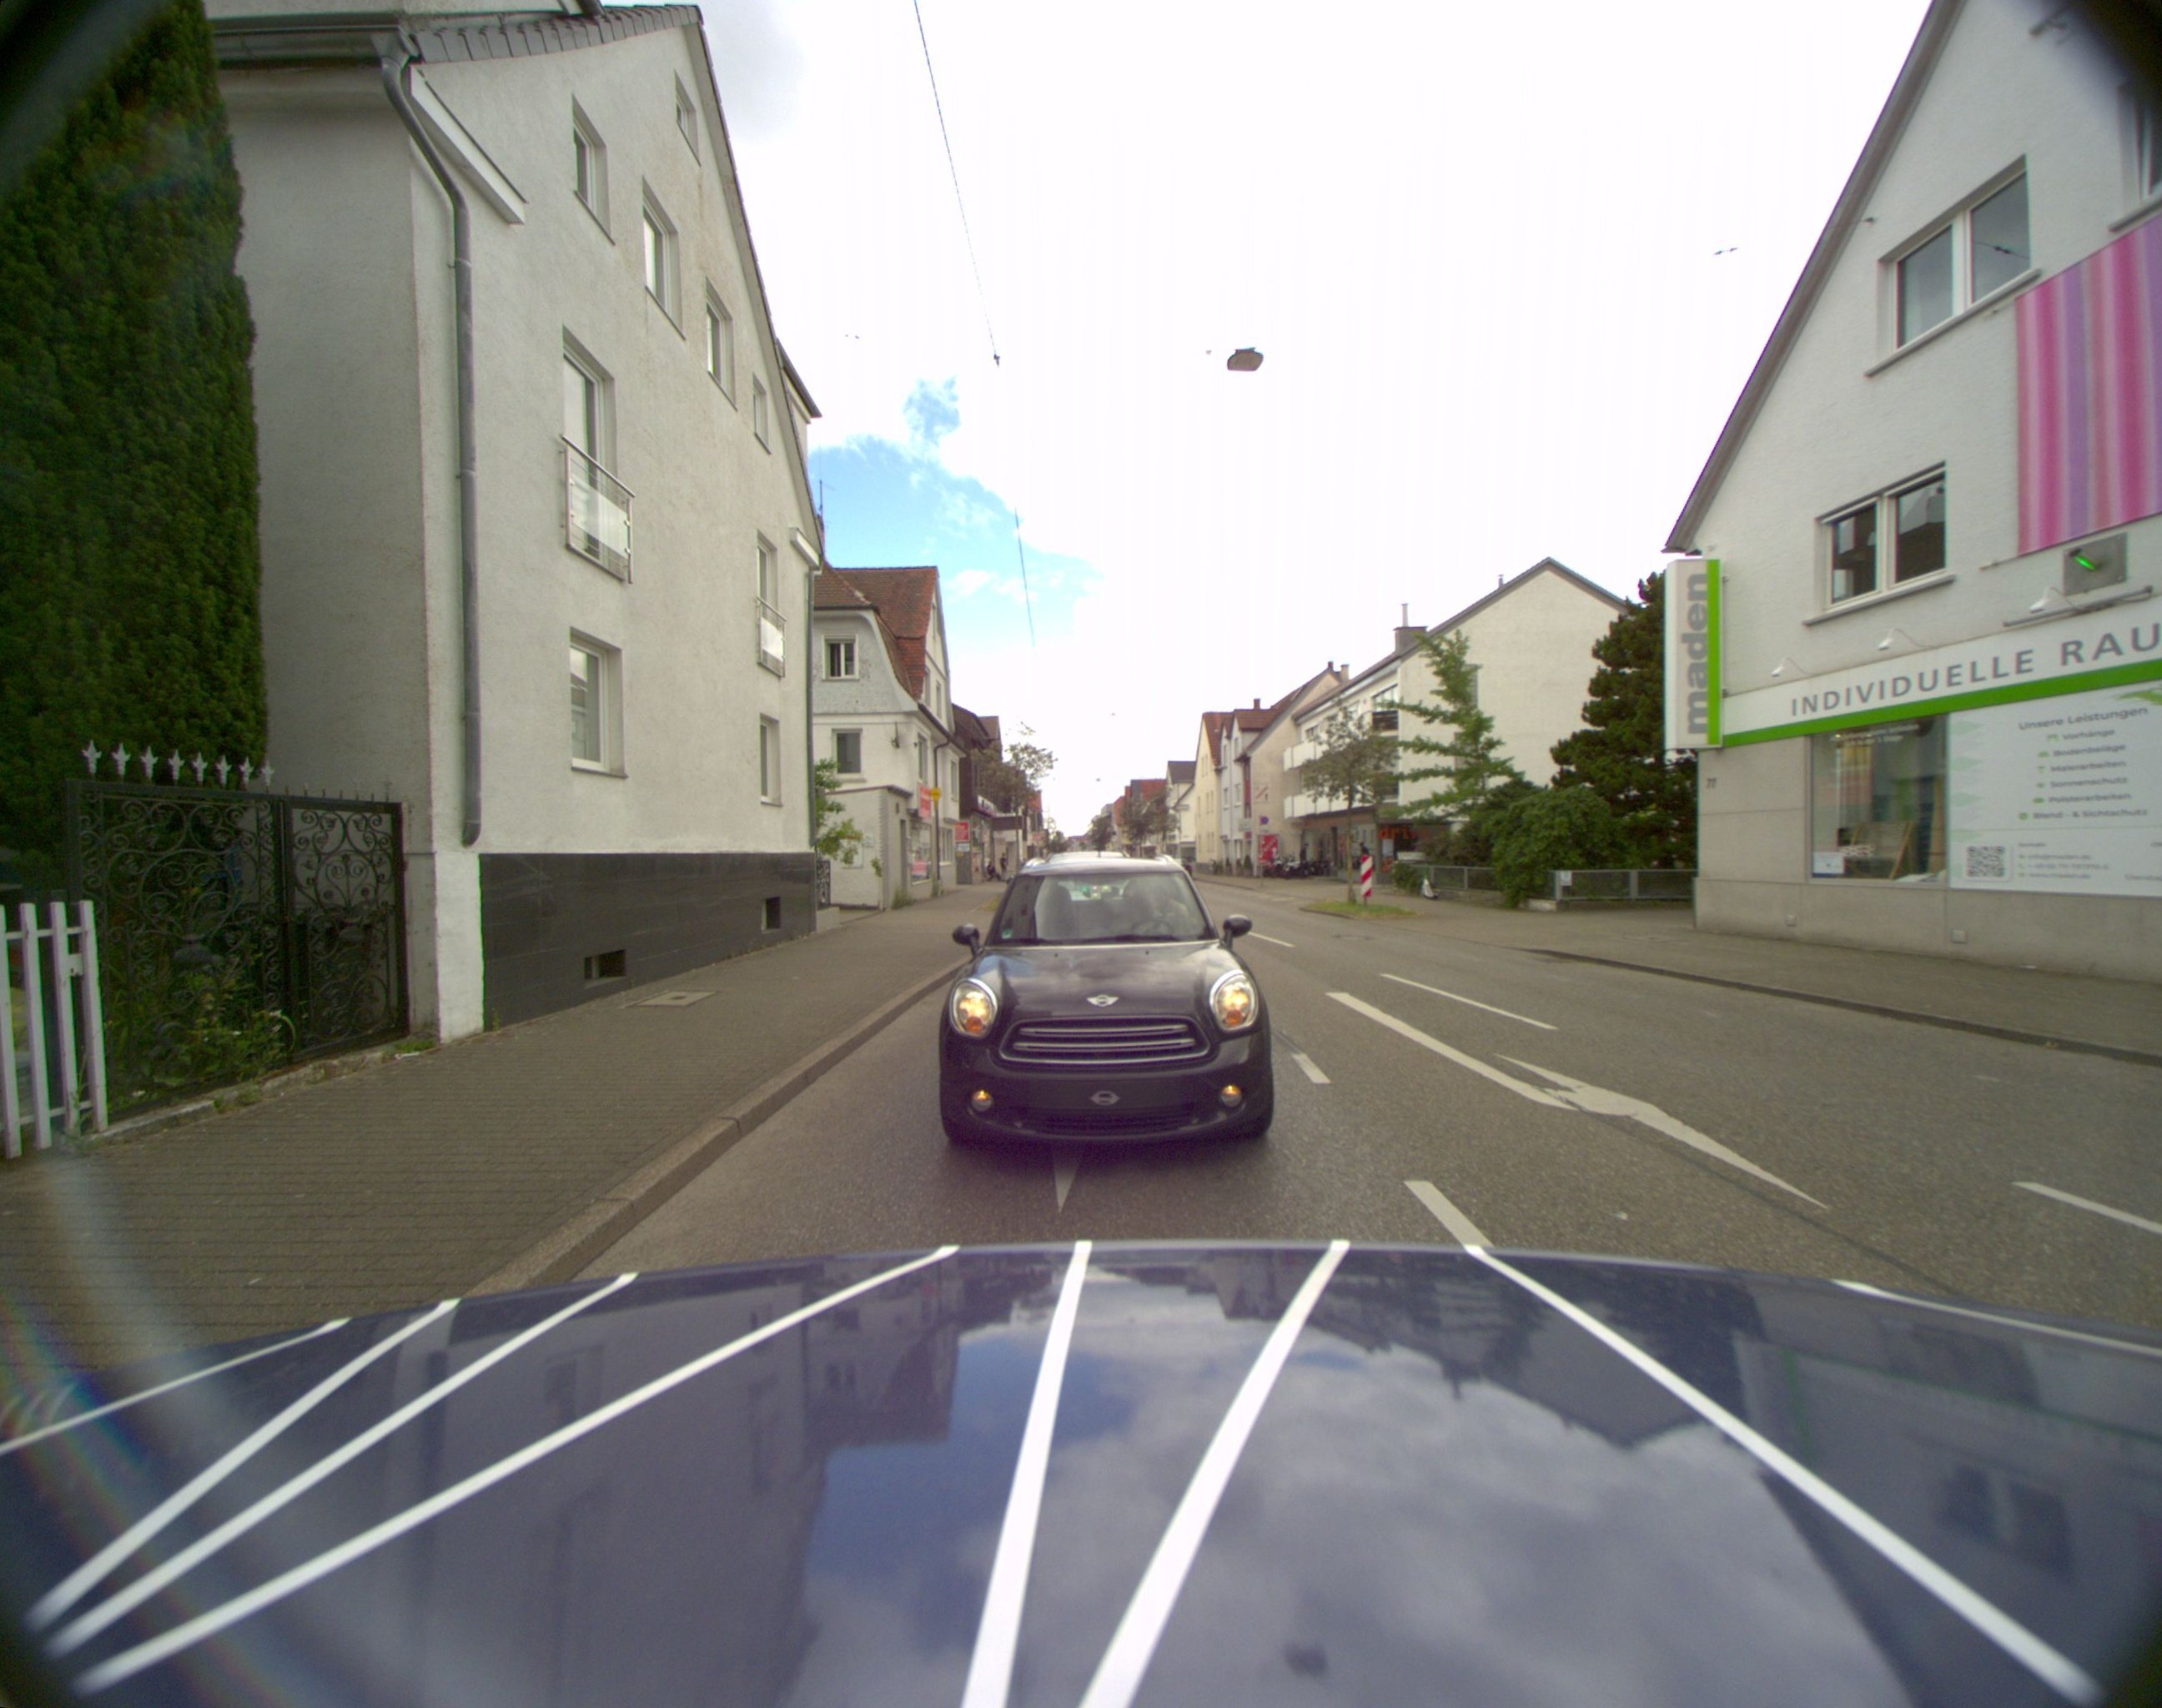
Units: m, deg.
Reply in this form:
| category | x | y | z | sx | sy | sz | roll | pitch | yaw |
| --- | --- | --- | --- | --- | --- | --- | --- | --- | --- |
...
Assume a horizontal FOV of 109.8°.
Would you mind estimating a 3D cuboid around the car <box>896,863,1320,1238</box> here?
| category | x | y | z | sx | sy | sz | roll | pitch | yaw |
| --- | --- | --- | --- | --- | --- | --- | --- | --- | --- |
| car | 0.049 | 0.902 | 5.763 | 1.855 | 1.527 | 4.735 | -2 | 0 | -2 |

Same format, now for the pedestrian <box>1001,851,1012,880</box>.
| category | x | y | z | sx | sy | sz | roll | pitch | yaw |
| --- | --- | --- | --- | --- | --- | --- | --- | --- | --- |
| pedestrian | -4.518 | 0.713 | 46.043 | 0.644 | 1.730 | 0.742 | 0 | 1 | -6 |

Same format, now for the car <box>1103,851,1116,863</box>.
| category | x | y | z | sx | sy | sz | roll | pitch | yaw |
| --- | --- | --- | --- | --- | --- | --- | --- | --- | --- |
| car | 4.443 | 0.408 | 117.523 | 1.998 | 1.772 | 4.000 | -2 | 0 | 3 |

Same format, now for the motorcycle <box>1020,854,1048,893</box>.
| category | x | y | z | sx | sy | sz | roll | pitch | yaw |
| --- | --- | --- | --- | --- | --- | --- | --- | --- | --- |
| motorcycle | -1.931 | 0.785 | 31.579 | 0.672 | 1.516 | 2.599 | -2 | 1 | 6 |

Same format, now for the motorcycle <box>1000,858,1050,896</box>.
| category | x | y | z | sx | sy | sz | roll | pitch | yaw |
| --- | --- | --- | --- | --- | --- | --- | --- | --- | --- |
| motorcycle | -2.175 | 0.881 | 29.311 | 0.777 | 1.373 | 2.237 | -2 | 1 | -37 |

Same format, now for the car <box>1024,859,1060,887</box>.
| category | x | y | z | sx | sy | sz | roll | pitch | yaw |
| --- | --- | --- | --- | --- | --- | --- | --- | --- | --- |
| car | -2.171 | 1.056 | 43.203 | 1.830 | 1.400 | 4.564 | -2 | 0 | -1 |

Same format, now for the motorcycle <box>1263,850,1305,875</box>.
| category | x | y | z | sx | sy | sz | roll | pitch | yaw |
| --- | --- | --- | --- | --- | --- | --- | --- | --- | --- |
| motorcycle | 11.754 | 0.486 | 43.983 | 2.231 | 1.258 | 0.613 | -4 | 1 | -2 |

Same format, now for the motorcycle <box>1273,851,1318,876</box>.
| category | x | y | z | sx | sy | sz | roll | pitch | yaw |
| --- | --- | --- | --- | --- | --- | --- | --- | --- | --- |
| motorcycle | 11.784 | 0.513 | 41.711 | 2.231 | 1.258 | 0.613 | -4 | 1 | -2 |

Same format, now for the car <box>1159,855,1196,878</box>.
| category | x | y | z | sx | sy | sz | roll | pitch | yaw |
| --- | --- | --- | --- | --- | --- | --- | --- | --- | --- |
| car | 6.446 | 0.814 | 51.127 | 1.792 | 1.409 | 4.340 | 0 | 0 | -1 |

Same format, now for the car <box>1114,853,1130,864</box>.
| category | x | y | z | sx | sy | sz | roll | pitch | yaw |
| --- | --- | --- | --- | --- | --- | --- | --- | --- | --- |
| car | 5.479 | 0.605 | 102.145 | 1.716 | 1.389 | 3.899 | -2 | 0 | -2 |

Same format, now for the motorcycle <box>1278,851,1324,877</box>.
| category | x | y | z | sx | sy | sz | roll | pitch | yaw |
| --- | --- | --- | --- | --- | --- | --- | --- | --- | --- |
| motorcycle | 11.813 | 0.523 | 40.861 | 2.231 | 1.258 | 0.613 | -4 | 1 | -2 |

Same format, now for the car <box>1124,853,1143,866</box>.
| category | x | y | z | sx | sy | sz | roll | pitch | yaw |
| --- | --- | --- | --- | --- | --- | --- | --- | --- | --- |
| car | 5.921 | 0.618 | 86.386 | 1.716 | 1.389 | 3.899 | -2 | 0 | -2 |

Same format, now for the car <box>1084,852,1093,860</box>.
| category | x | y | z | sx | sy | sz | roll | pitch | yaw |
| --- | --- | --- | --- | --- | --- | --- | --- | --- | --- |
| car | 1.904 | 0.487 | 192.783 | 1.855 | 1.932 | 4.489 | 1 | 0 | -2 |

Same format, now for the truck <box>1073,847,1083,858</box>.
| category | x | y | z | sx | sy | sz | roll | pitch | yaw |
| --- | --- | --- | --- | --- | --- | --- | --- | --- | --- |
| truck | -0.882 | -0.586 | 219.276 | 2.800 | 3.020 | 8.250 | -2 | 0 | 0 |

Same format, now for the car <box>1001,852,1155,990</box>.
| category | x | y | z | sx | sy | sz | roll | pitch | yaw |
| --- | --- | --- | --- | --- | --- | --- | --- | --- | --- |
| car | -0.020 | 0.818 | 11.709 | 1.855 | 1.615 | 4.736 | -2 | 0 | 0 |

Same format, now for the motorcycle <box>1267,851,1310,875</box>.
| category | x | y | z | sx | sy | sz | roll | pitch | yaw |
| --- | --- | --- | --- | --- | --- | --- | --- | --- | --- |
| motorcycle | 11.794 | 0.503 | 43.239 | 2.231 | 1.258 | 0.613 | -4 | 1 | -2 |

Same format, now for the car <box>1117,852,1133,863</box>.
| category | x | y | z | sx | sy | sz | roll | pitch | yaw |
| --- | --- | --- | --- | --- | --- | --- | --- | --- | --- |
| car | 5.625 | 0.426 | 97.154 | 1.716 | 1.389 | 3.899 | -2 | 0 | -2 |

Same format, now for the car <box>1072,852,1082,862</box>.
| category | x | y | z | sx | sy | sz | roll | pitch | yaw |
| --- | --- | --- | --- | --- | --- | --- | --- | --- | --- |
| car | -0.874 | 0.546 | 159.325 | 2.059 | 2.002 | 4.186 | -2 | 0 | -1 |

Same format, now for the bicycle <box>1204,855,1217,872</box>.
| category | x | y | z | sx | sy | sz | roll | pitch | yaw |
| --- | --- | --- | --- | --- | --- | --- | --- | --- | --- |
| bicycle | 9.419 | 0.699 | 55.470 | 0.515 | 1.189 | 2.023 | -2 | 1 | -1 |

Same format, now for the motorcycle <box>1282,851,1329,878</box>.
| category | x | y | z | sx | sy | sz | roll | pitch | yaw |
| --- | --- | --- | --- | --- | --- | --- | --- | --- | --- |
| motorcycle | 11.829 | 0.540 | 39.988 | 2.231 | 1.258 | 0.613 | -4 | 1 | -2 |

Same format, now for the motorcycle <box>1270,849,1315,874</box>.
| category | x | y | z | sx | sy | sz | roll | pitch | yaw |
| --- | --- | --- | --- | --- | --- | --- | --- | --- | --- |
| motorcycle | 11.790 | 0.431 | 42.445 | 2.231 | 1.258 | 0.699 | -4 | 1 | -2 |

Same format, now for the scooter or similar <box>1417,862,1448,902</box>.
| category | x | y | z | sx | sy | sz | roll | pitch | yaw |
| --- | --- | --- | --- | --- | --- | --- | --- | --- | --- |
| scooter or similar | 10.368 | 0.815 | 22.430 | 0.340 | 1.105 | 1.180 | -2 | 1 | 0 |

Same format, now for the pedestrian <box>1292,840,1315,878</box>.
| category | x | y | z | sx | sy | sz | roll | pitch | yaw |
| --- | --- | --- | --- | --- | --- | --- | --- | --- | --- |
| pedestrian | 11.361 | 0.259 | 38.891 | 0.753 | 1.838 | 1.019 | -5 | 1 | 0 |

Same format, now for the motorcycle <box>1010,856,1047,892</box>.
| category | x | y | z | sx | sy | sz | roll | pitch | yaw |
| --- | --- | --- | --- | --- | --- | --- | --- | --- | --- |
| motorcycle | -2.250 | 0.850 | 32.924 | 0.648 | 1.432 | 2.472 | -2 | 1 | 19 |

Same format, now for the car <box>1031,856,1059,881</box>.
| category | x | y | z | sx | sy | sz | roll | pitch | yaw |
| --- | --- | --- | --- | --- | --- | --- | --- | --- | --- |
| car | -2.245 | 0.910 | 48.637 | 1.645 | 1.433 | 3.901 | -2 | 0 | -1 |

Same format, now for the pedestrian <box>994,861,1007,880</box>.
| category | x | y | z | sx | sy | sz | roll | pitch | yaw |
| --- | --- | --- | --- | --- | --- | --- | --- | --- | --- |
| pedestrian | -4.945 | 1.013 | 46.822 | 0.742 | 1.204 | 0.644 | 0 | 1 | -1 |

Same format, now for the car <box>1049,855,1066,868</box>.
| category | x | y | z | sx | sy | sz | roll | pitch | yaw |
| --- | --- | --- | --- | --- | --- | --- | --- | --- | --- |
| car | -2.612 | 0.861 | 85.515 | 1.794 | 1.356 | 3.948 | 1 | 0 | 0 |

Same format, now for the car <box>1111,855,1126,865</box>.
| category | x | y | z | sx | sy | sz | roll | pitch | yaw |
| --- | --- | --- | --- | --- | --- | --- | --- | --- | --- |
| car | 5.272 | 0.813 | 107.791 | 1.716 | 1.389 | 3.899 | -2 | 0 | -2 |
